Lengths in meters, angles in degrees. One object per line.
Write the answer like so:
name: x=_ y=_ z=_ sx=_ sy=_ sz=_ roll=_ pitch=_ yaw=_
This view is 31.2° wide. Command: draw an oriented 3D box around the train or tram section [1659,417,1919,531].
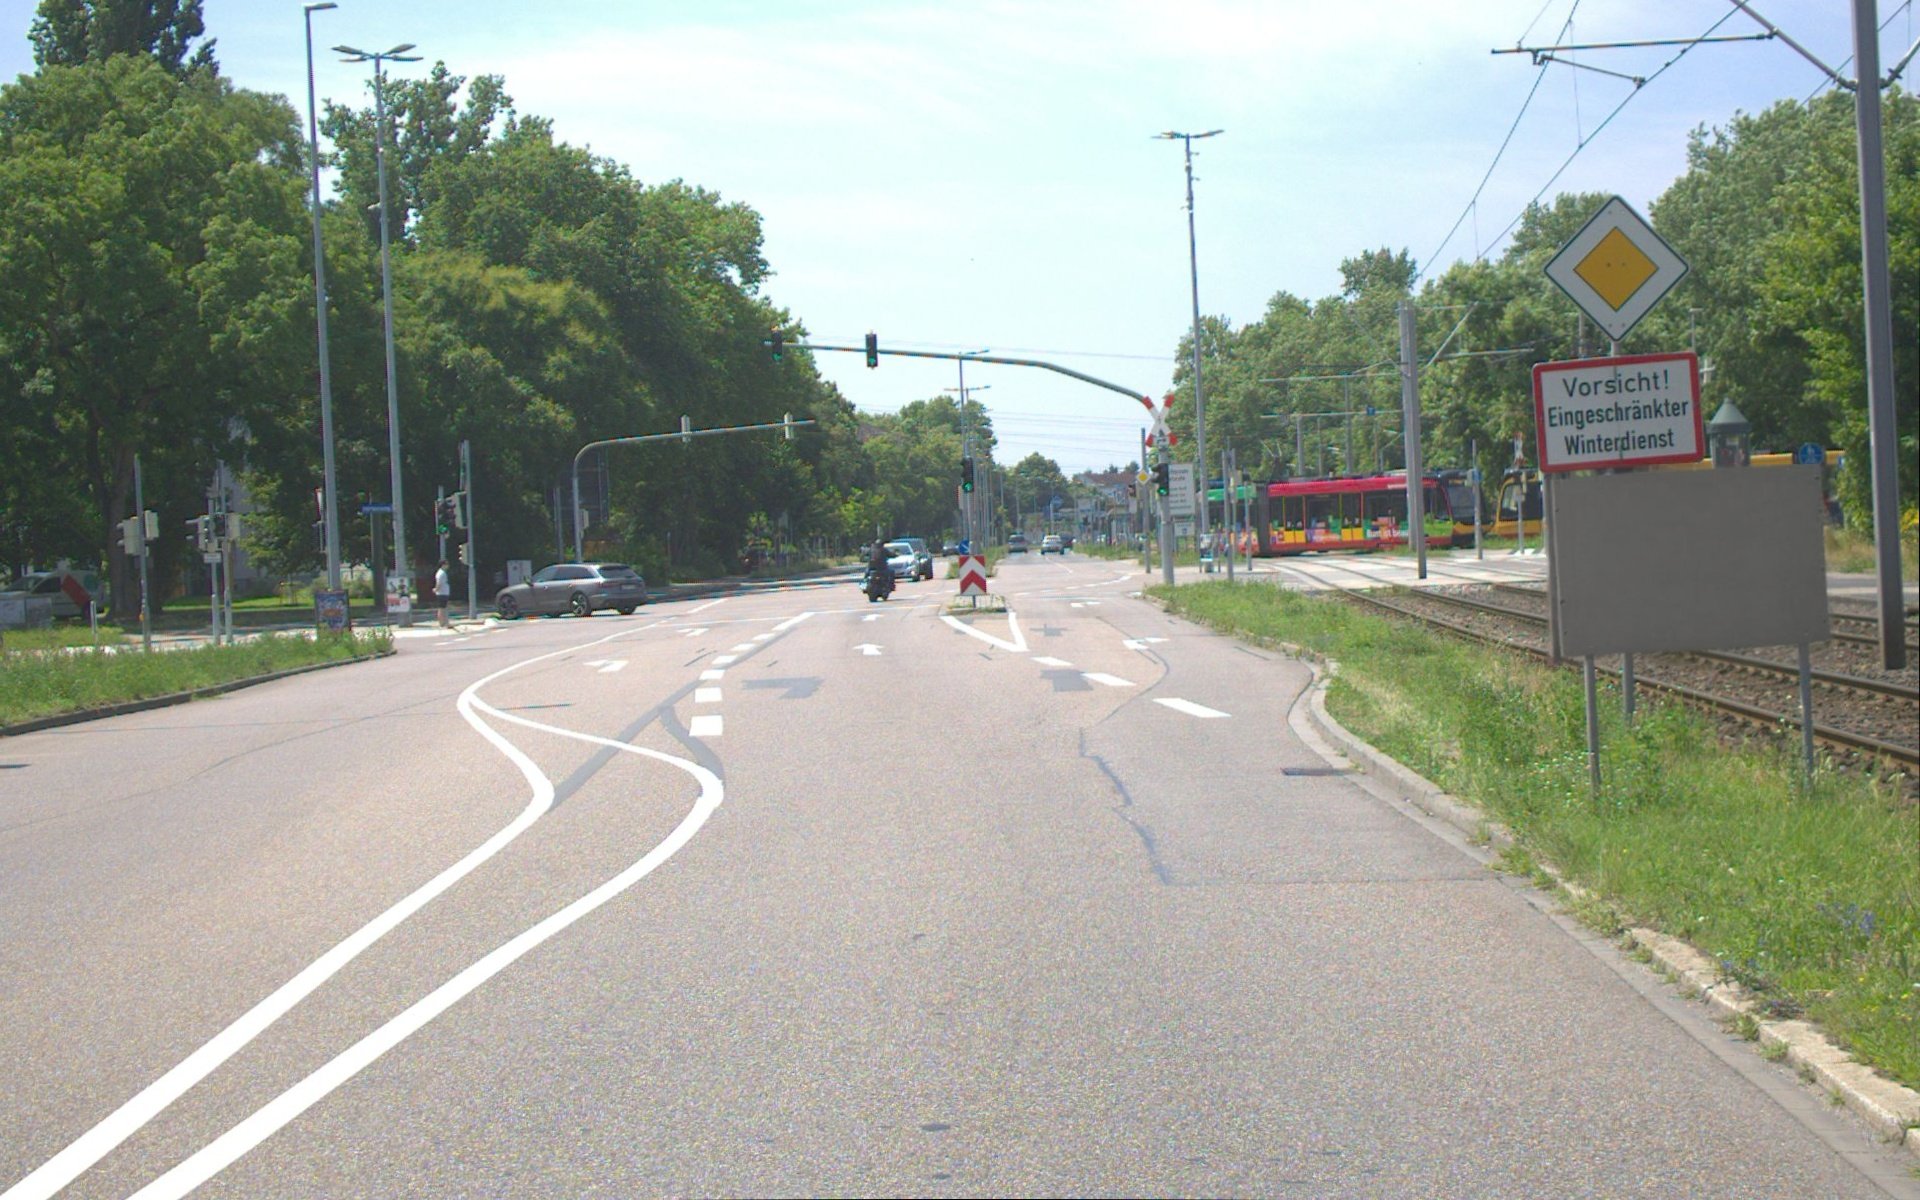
train or tram section: x=35.372 y=-5.092 z=137.871 sx=14.015 sy=3.906 sz=2.919 roll=-2 pitch=-2 yaw=26

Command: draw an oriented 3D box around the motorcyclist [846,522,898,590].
motorcyclist: x=-2.173 y=-1.099 z=85.097 sx=0.791 sy=1.637 sz=1.209 roll=-1 pitch=1 yaw=24

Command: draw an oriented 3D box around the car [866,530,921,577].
car: x=-2.449 y=-1.740 z=127.776 sx=1.784 sy=1.623 sz=3.865 roll=-3 pitch=1 yaw=1

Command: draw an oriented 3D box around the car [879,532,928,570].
car: x=-2.202 y=-1.936 z=135.327 sx=1.710 sy=1.361 sz=3.865 roll=-3 pitch=1 yaw=1

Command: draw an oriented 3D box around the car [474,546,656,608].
car: x=-10.469 y=-0.603 z=90.993 sx=4.623 sy=1.493 sz=1.909 roll=-1 pitch=1 yaw=34

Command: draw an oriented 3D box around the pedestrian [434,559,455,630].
pedestrian: x=-12.445 y=-0.131 z=83.028 sx=0.382 sy=1.681 sz=0.486 roll=-3 pitch=1 yaw=-2

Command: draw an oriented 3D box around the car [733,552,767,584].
car: x=-13.346 y=-2.038 z=218.718 sx=1.993 sy=2.007 sz=4.000 roll=0 pitch=0 yaw=-2

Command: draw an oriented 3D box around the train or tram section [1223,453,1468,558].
train or tram section: x=16.806 y=-4.071 z=151.360 sx=2.914 sy=3.799 sz=13.072 roll=-1 pitch=-2 yaw=-33

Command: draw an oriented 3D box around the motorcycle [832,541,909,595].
motorcycle: x=-2.201 y=-0.798 z=84.971 sx=0.848 sy=1.251 sz=2.446 roll=-1 pitch=1 yaw=25

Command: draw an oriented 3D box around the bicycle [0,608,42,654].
bicycle: x=-23.686 y=0.784 z=84.936 sx=1.863 sy=1.090 sz=0.646 roll=-2 pitch=1 yaw=-21

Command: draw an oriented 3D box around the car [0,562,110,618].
car: x=-32.322 y=-0.350 z=120.737 sx=1.790 sy=1.762 sz=4.538 roll=-2 pitch=1 yaw=41

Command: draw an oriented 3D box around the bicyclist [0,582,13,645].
bicyclist: x=-23.781 y=0.345 z=84.890 sx=0.664 sy=1.531 sz=0.631 roll=-2 pitch=1 yaw=-21

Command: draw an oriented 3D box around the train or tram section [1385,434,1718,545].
train or tram section: x=24.589 y=-4.528 z=143.588 sx=13.434 sy=3.799 sz=2.918 roll=-3 pitch=-2 yaw=31
